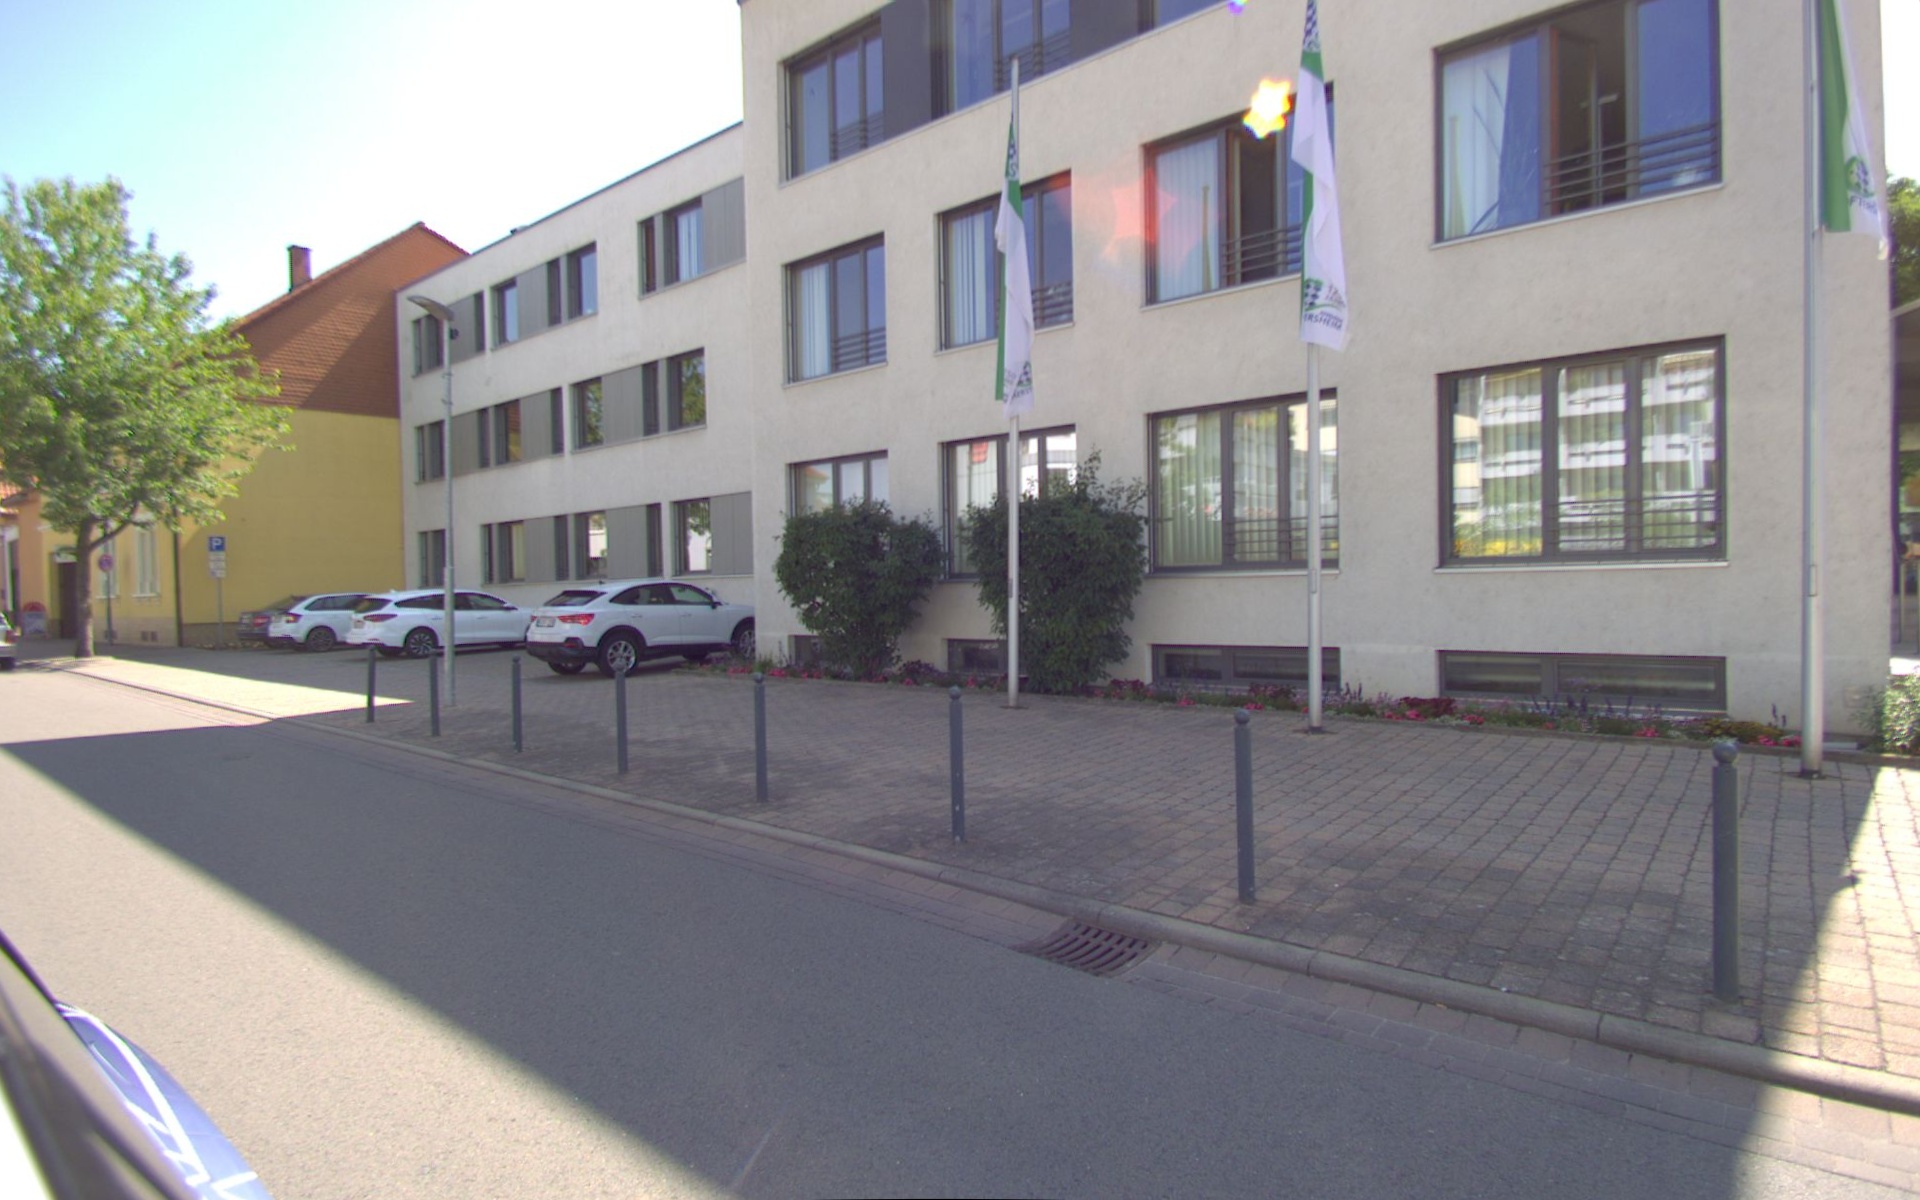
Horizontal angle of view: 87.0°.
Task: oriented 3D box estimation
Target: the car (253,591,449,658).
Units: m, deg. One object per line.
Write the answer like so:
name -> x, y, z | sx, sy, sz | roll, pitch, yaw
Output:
car -> -15.727, 0.591, 26.280 | 1.806, 1.462, 3.947 | -1, 1, 40

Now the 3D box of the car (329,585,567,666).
car -> -11.655, 0.492, 23.285 | 1.933, 1.565, 4.459 | 1, 3, 40

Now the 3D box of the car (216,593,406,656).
car -> -17.819, 0.636, 27.935 | 1.968, 1.442, 3.952 | -2, 1, 36

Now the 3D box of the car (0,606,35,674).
car -> -22.681, 0.886, 22.958 | 4.431, 1.475, 1.862 | -1, -2, 39

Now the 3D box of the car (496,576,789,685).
car -> -5.433, 0.425, 17.798 | 2.145, 1.565, 4.463 | -1, 2, 38
